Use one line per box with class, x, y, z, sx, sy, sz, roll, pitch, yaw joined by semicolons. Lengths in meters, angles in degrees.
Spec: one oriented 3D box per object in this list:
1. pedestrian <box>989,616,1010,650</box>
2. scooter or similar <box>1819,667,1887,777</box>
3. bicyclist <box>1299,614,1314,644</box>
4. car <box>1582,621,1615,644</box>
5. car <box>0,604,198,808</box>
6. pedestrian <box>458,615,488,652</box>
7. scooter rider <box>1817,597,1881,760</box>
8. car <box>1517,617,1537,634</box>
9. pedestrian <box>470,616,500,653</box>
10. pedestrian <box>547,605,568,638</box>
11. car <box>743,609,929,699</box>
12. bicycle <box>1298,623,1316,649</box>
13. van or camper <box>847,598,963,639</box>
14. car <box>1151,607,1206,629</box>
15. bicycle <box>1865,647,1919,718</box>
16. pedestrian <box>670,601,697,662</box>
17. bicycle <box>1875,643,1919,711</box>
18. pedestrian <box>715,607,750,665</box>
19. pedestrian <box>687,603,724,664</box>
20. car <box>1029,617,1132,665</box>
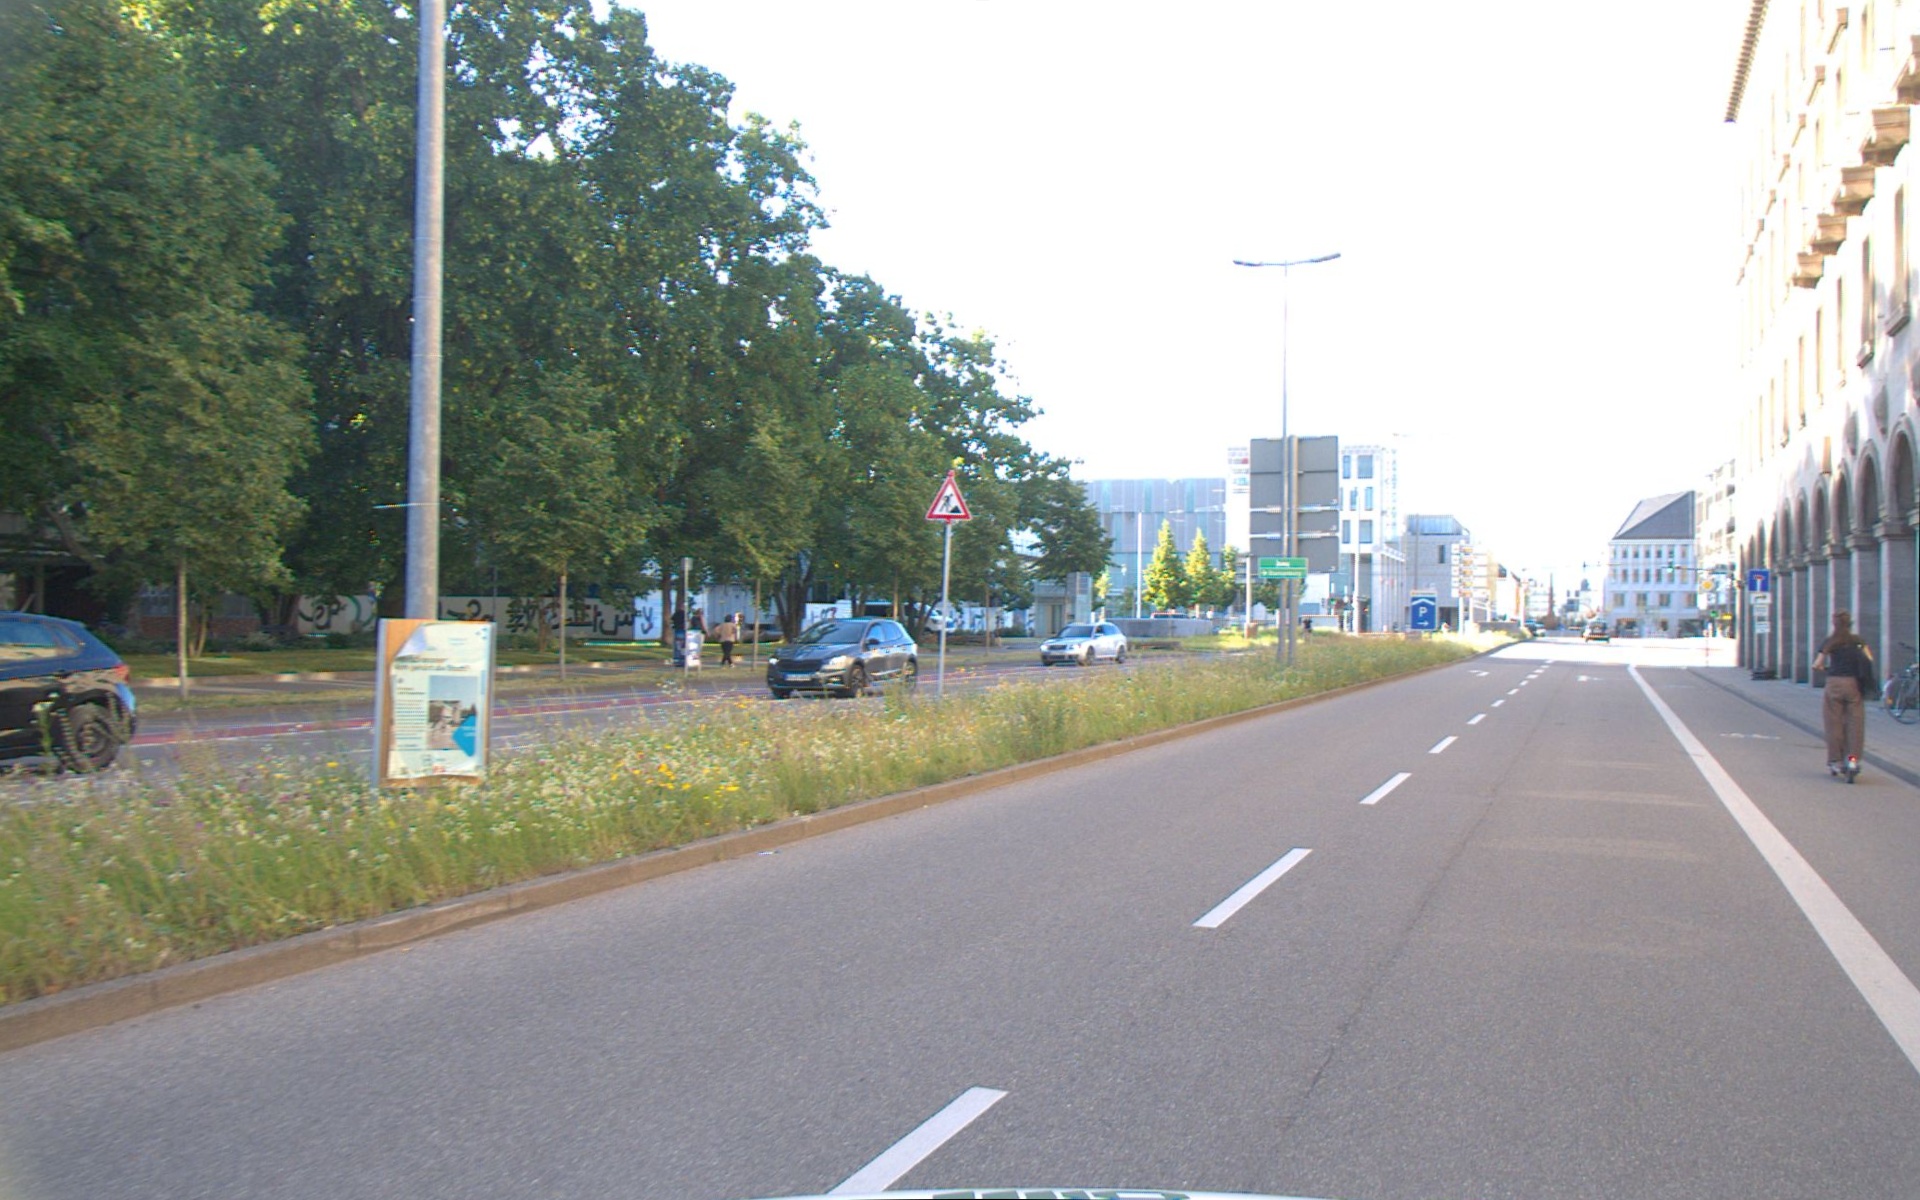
pedestrian;1.828;1.505;76.335;0.601;1.554;0.941;0;0;27
scooter or similar;9.211;1.239;17.078;0.544;1.049;1.117;0;-1;25
bicyclist;20.066;1.667;95.720;0.731;1.617;1.203;-1;3;17
car;44.089;2.229;114.280;1.738;1.591;3.791;0;-1;16
car;-8.997;0.881;13.974;1.953;1.705;4.549;0;-1;22
pedestrian;-20.667;1.430;70.226;0.883;1.567;0.895;0;-1;15
scooter rider;9.264;0.804;17.254;0.550;1.660;0.649;0;-1;25
car;64.176;2.876;187.027;1.953;1.773;4.646;1;1;21
pedestrian;-20.408;1.471;71.120;0.883;1.567;0.895;0;-1;15
pedestrian;-20.244;1.076;83.112;0.710;1.670;0.744;0;-1;27
car;-2.281;0.983;31.532;1.953;1.592;4.060;0;-1;22
bicycle;20.076;2.085;95.692;0.742;1.296;2.261;1;5;17
van or camper;-2.849;0.982;85.794;5.548;2.049;2.256;-1;-3;23
car;19.027;1.545;144.200;4.541;1.842;1.873;0;-3;14
bicycle;14.821;1.246;25.225;1.671;1.069;0.528;-1;-1;7
pedestrian;-8.153;0.928;48.776;0.513;1.771;0.654;0;-1;25
bicycle;15.751;1.234;26.931;1.686;1.069;0.607;-1;-2;-26
pedestrian;-6.625;1.053;48.135;0.727;1.670;0.725;0;-1;25
pedestrian;-7.454;0.967;48.428;0.756;1.771;0.760;0;-1;25
car;4.175;1.367;56.691;1.896;1.553;4.582;0;-1;27
